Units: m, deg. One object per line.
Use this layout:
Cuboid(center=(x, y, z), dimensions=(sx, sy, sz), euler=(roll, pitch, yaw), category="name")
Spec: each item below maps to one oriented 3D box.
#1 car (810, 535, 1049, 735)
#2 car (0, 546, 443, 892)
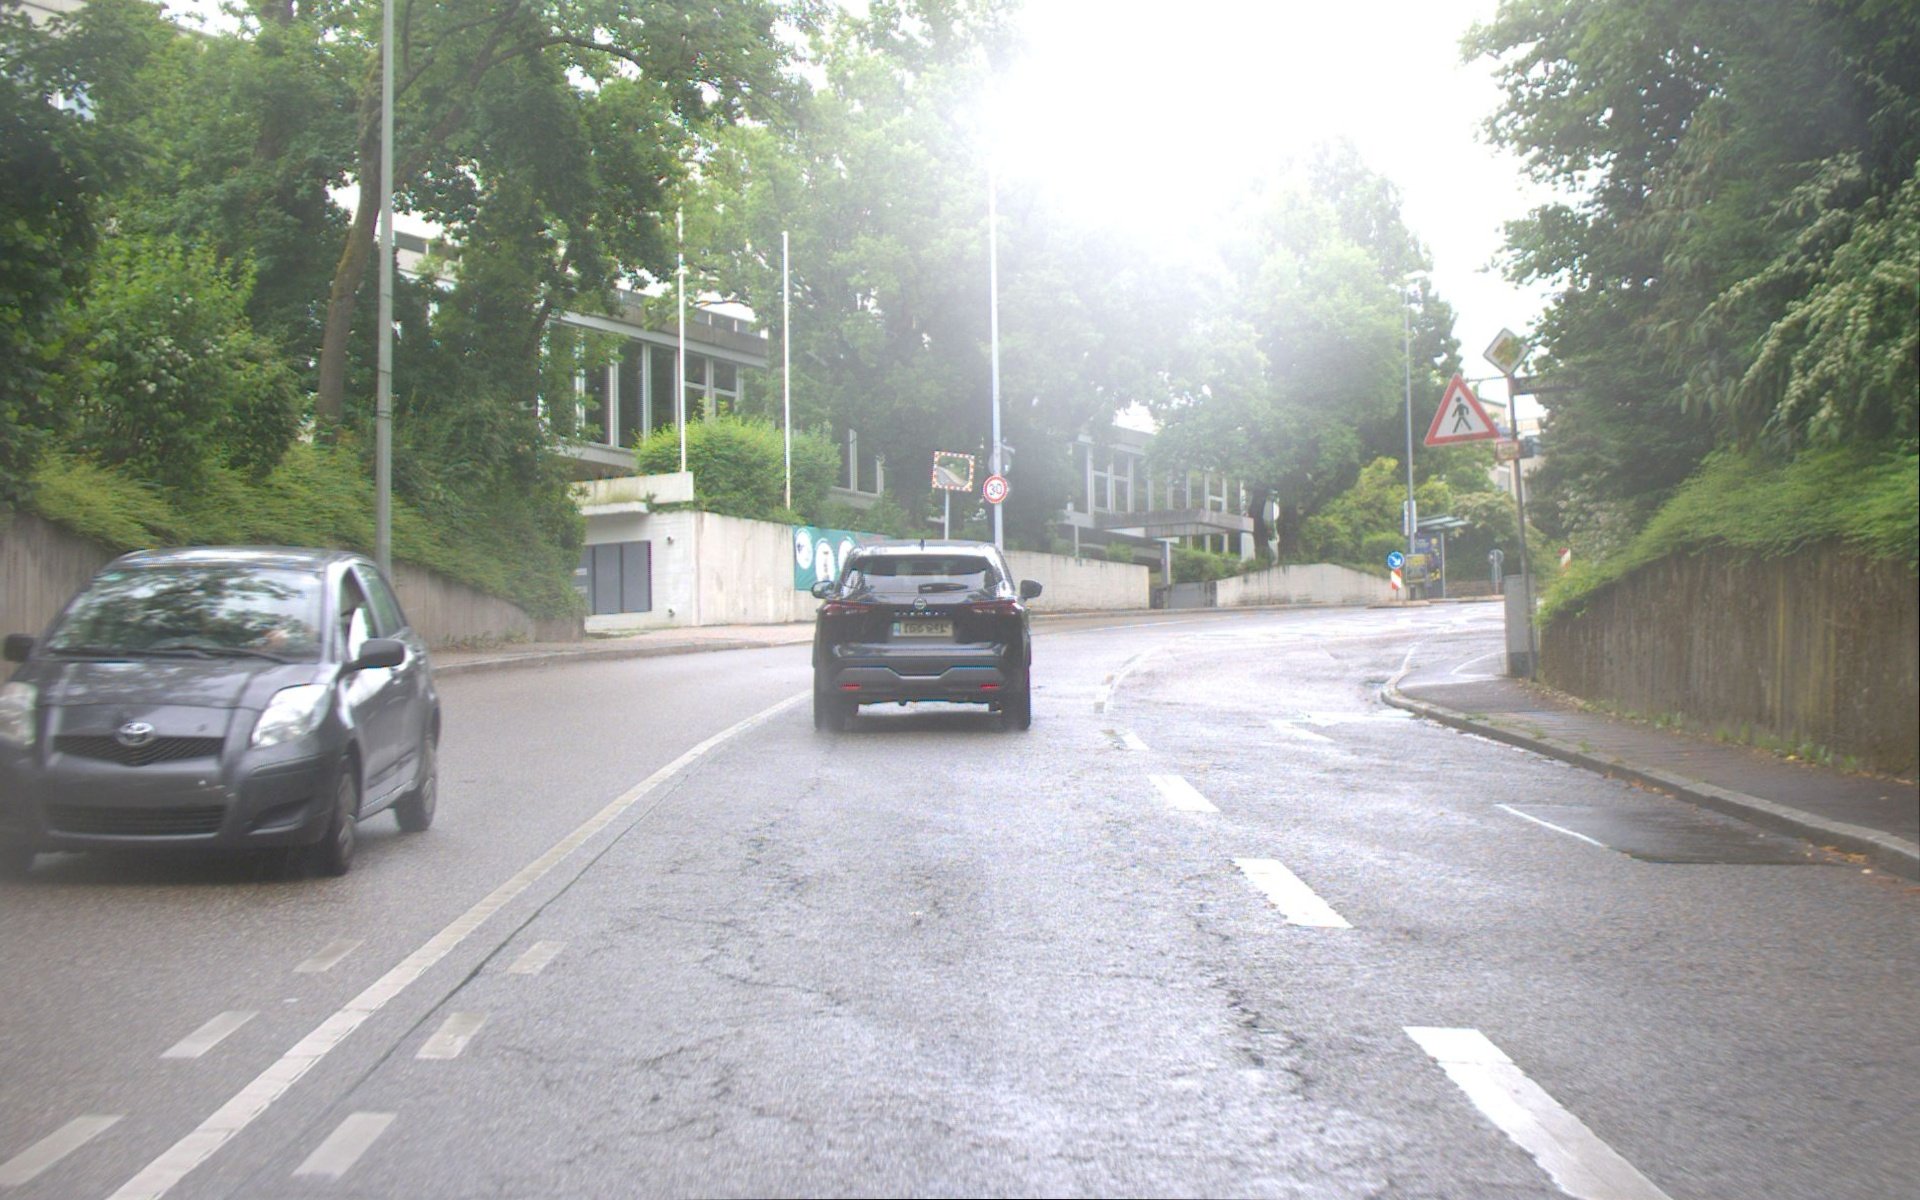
Cuboid(center=(-0.275, 0.246, 30.000), dimensions=(1.928, 1.607, 4.000), euler=(-1, 1, -1), category="car")
Cuboid(center=(-3.598, 0.495, 16.821), dimensions=(1.675, 1.491, 3.460), euler=(-1, 1, -1), category="car")
